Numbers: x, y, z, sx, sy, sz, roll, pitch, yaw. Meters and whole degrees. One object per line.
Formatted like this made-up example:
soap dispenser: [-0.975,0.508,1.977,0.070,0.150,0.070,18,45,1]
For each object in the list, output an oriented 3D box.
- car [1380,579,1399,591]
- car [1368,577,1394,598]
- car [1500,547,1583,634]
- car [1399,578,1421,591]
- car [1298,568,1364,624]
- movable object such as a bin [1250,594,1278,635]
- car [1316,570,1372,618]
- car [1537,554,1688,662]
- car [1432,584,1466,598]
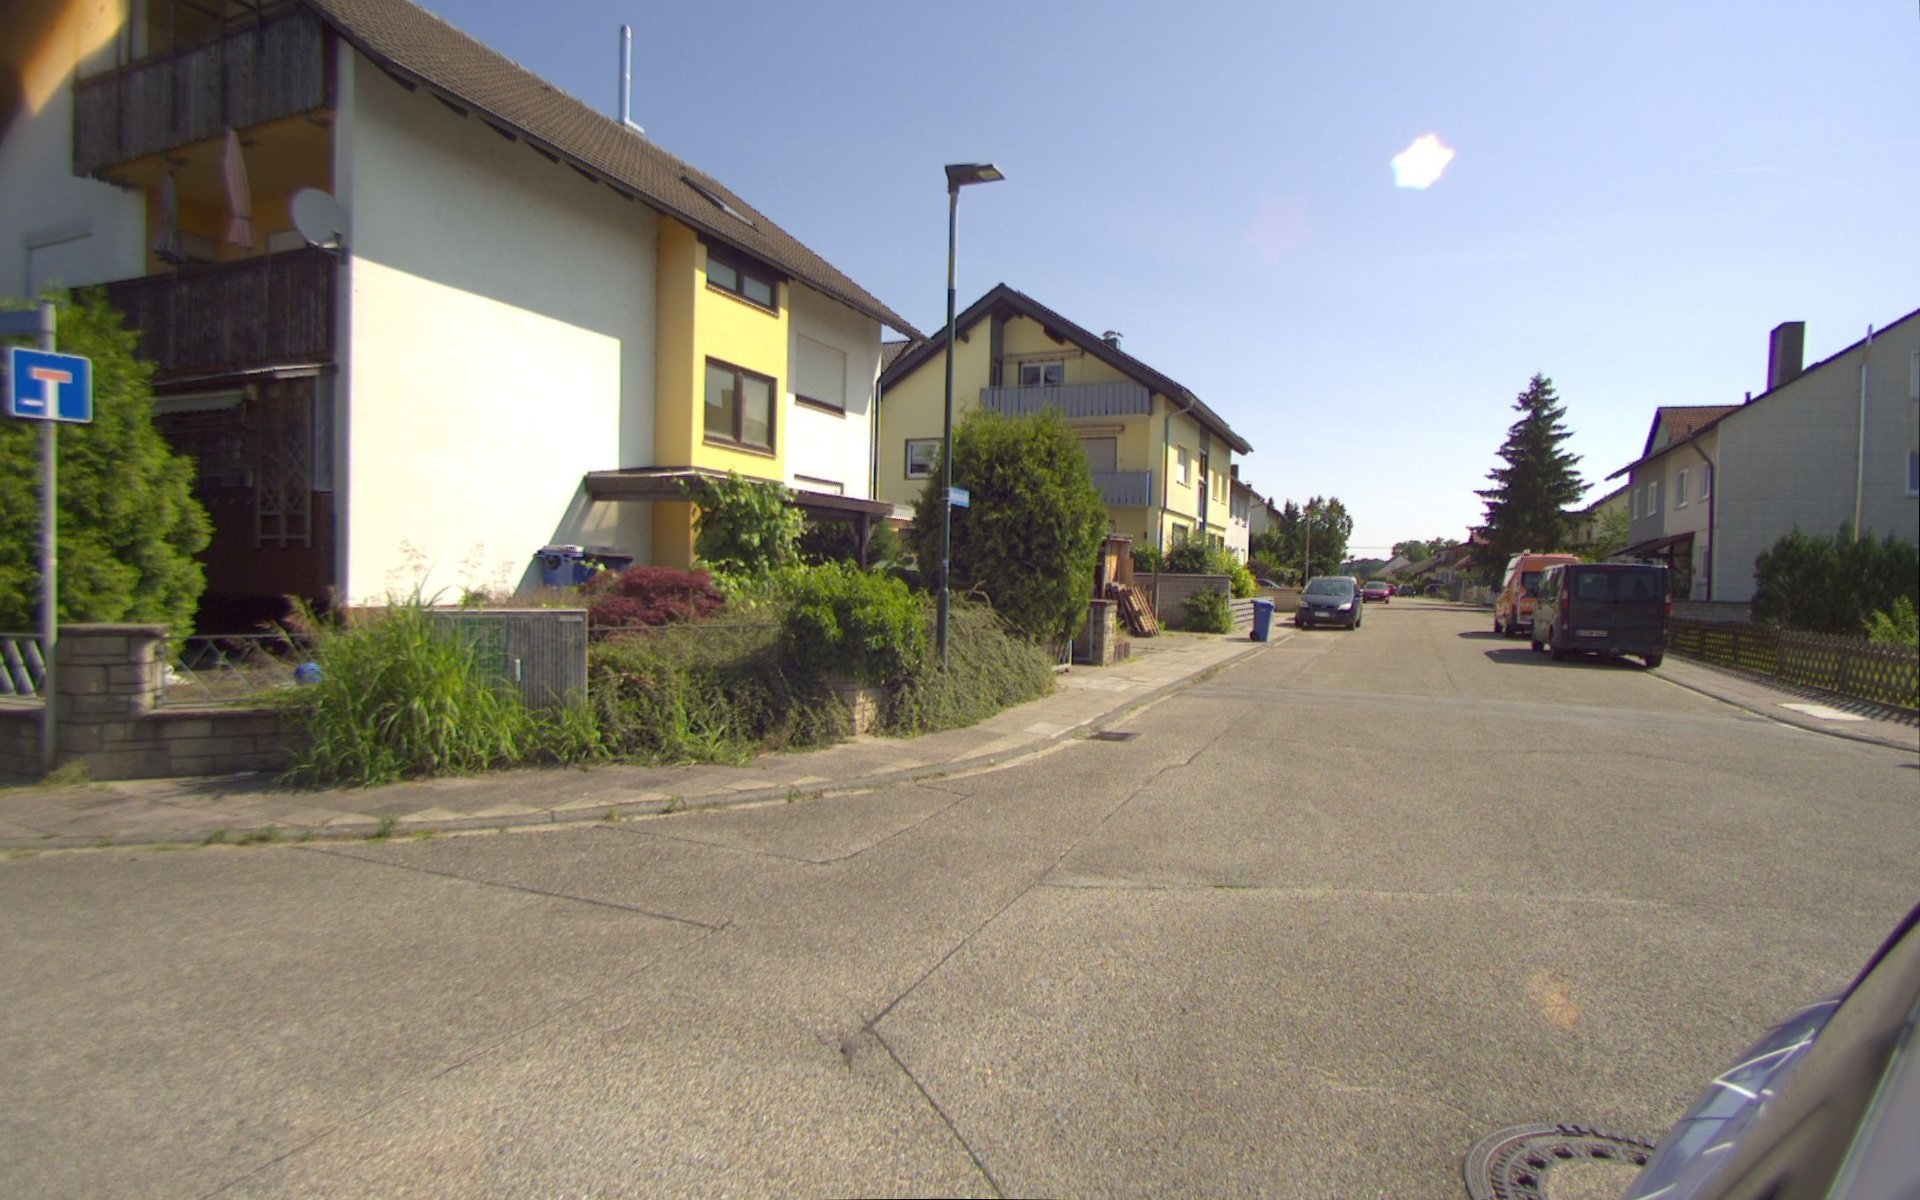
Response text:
car: [54.389,-1.887,128.172,1.686,1.357,3.980,1,0,16]
car: [29.155,-0.873,70.152,1.500,1.424,3.651,1,1,21]
car: [16.776,-0.313,29.339,1.539,2.352,4.172,1,1,23]
car: [51.529,-1.754,115.857,1.686,1.357,3.980,1,0,16]
car: [11.797,-0.153,32.025,1.616,1.646,3.966,1,1,25]
movable object such as a bin: [7.126,0.341,23.712,0.578,0.928,0.593,1,1,23]
car: [14.052,-0.234,36.914,1.616,1.646,3.966,1,1,25]
car: [13.191,0.082,20.725,1.850,1.962,4.172,1,1,23]
car: [59.190,-1.067,122.539,3.370,1.549,1.629,1,2,18]
